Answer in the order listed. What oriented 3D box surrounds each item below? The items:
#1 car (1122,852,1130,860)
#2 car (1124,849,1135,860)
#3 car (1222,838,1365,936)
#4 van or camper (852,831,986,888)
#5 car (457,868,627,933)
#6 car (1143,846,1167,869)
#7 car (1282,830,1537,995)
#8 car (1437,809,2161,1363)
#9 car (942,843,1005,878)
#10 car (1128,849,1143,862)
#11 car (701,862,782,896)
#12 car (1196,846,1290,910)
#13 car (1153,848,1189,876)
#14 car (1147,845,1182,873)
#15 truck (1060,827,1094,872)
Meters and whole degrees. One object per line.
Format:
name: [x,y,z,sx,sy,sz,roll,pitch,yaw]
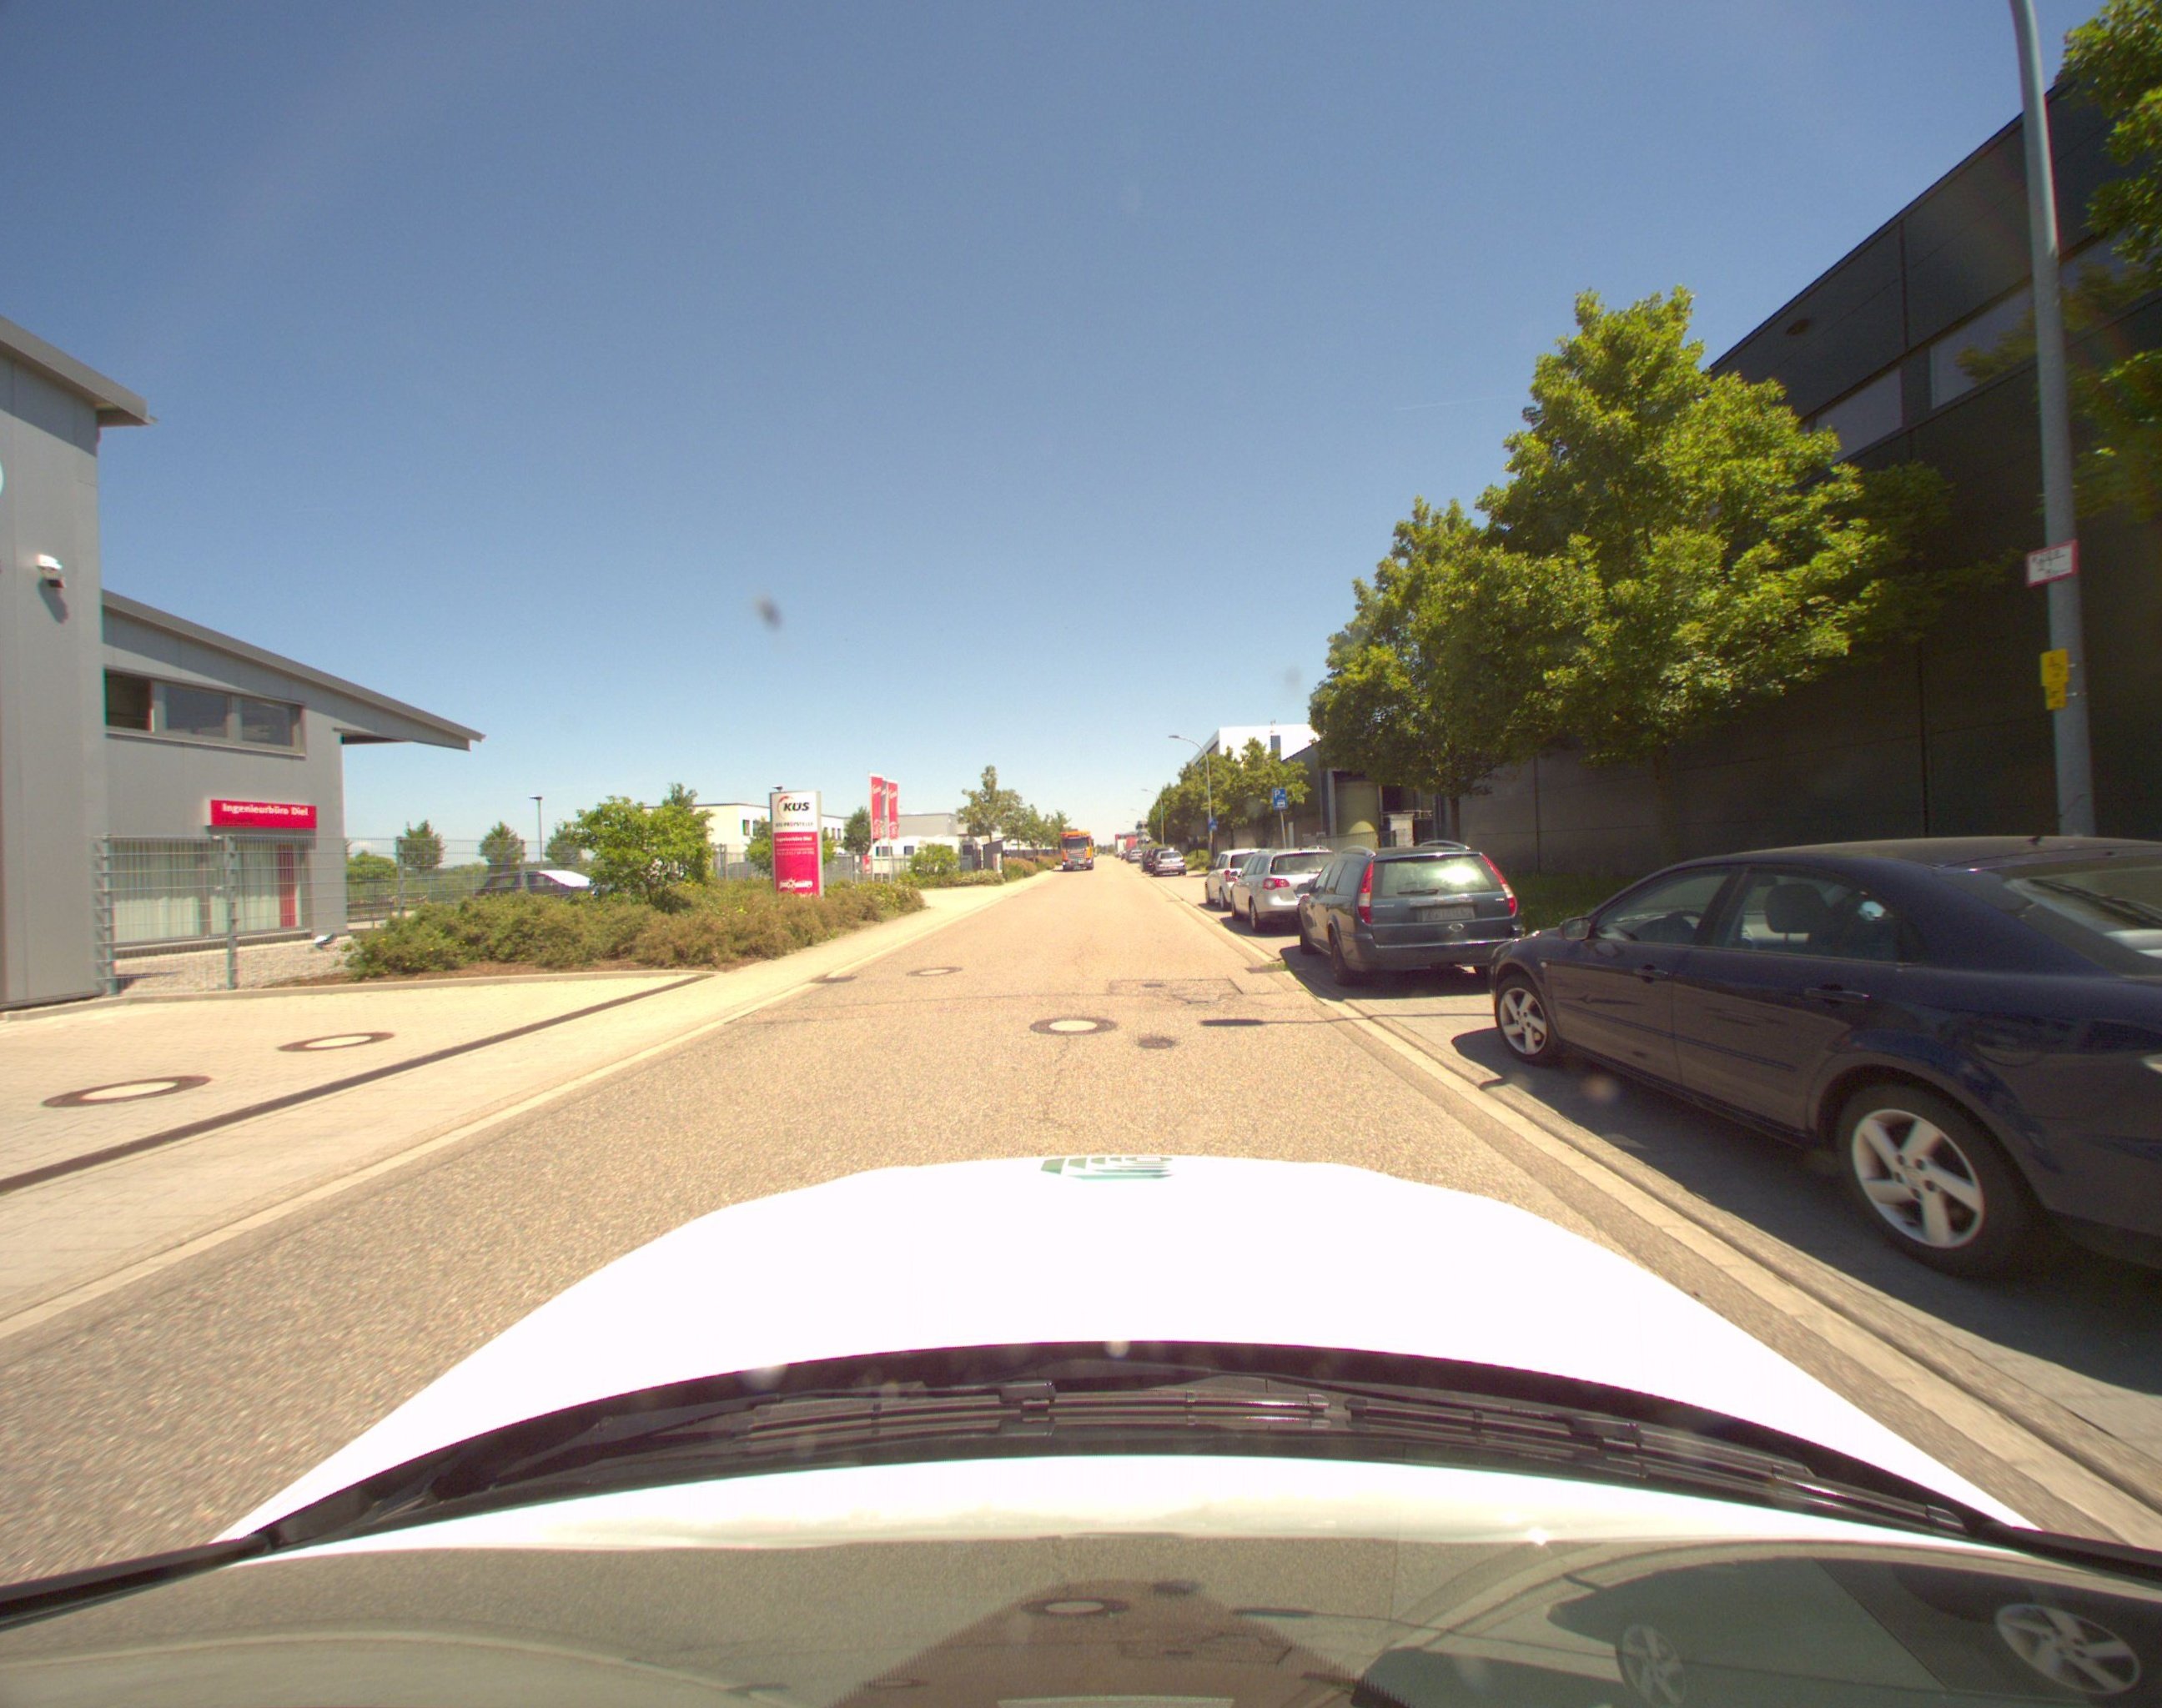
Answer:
car: [8.687,0.340,158.387,1.489,1.409,3.501,-2,0,2]
car: [6.946,0.055,117.253,1.489,1.409,3.501,-2,0,2]
car: [3.976,0.568,15.994,1.741,1.562,4.508,-3,-1,3]
van or camper: [-9.706,0.310,49.261,7.359,3.037,2.791,-2,0,0]
car: [-14.547,1.228,22.113,3.493,1.552,1.556,-2,0,-4]
car: [5.861,0.253,64.810,1.715,1.694,3.987,-2,0,3]
car: [3.697,0.577,10.110,1.700,1.504,4.714,-3,-1,7]
car: [3.762,0.580,4.238,1.843,1.431,4.714,-3,-1,2]
car: [-8.623,0.489,65.558,4.703,2.586,1.998,-3,0,-3]
car: [6.311,0.174,94.041,1.579,1.409,3.501,-2,0,2]
car: [-20.239,1.468,48.662,3.973,1.816,1.917,-3,0,1]
car: [4.191,0.574,21.614,1.631,1.469,3.744,-3,0,-1]
car: [5.152,0.455,47.040,1.712,1.450,3.647,-3,0,2]
car: [5.410,0.319,53.158,1.674,1.686,3.997,-2,0,-2]
truck: [-0.273,-0.382,71.135,2.439,3.513,8.276,-3,0,2]
